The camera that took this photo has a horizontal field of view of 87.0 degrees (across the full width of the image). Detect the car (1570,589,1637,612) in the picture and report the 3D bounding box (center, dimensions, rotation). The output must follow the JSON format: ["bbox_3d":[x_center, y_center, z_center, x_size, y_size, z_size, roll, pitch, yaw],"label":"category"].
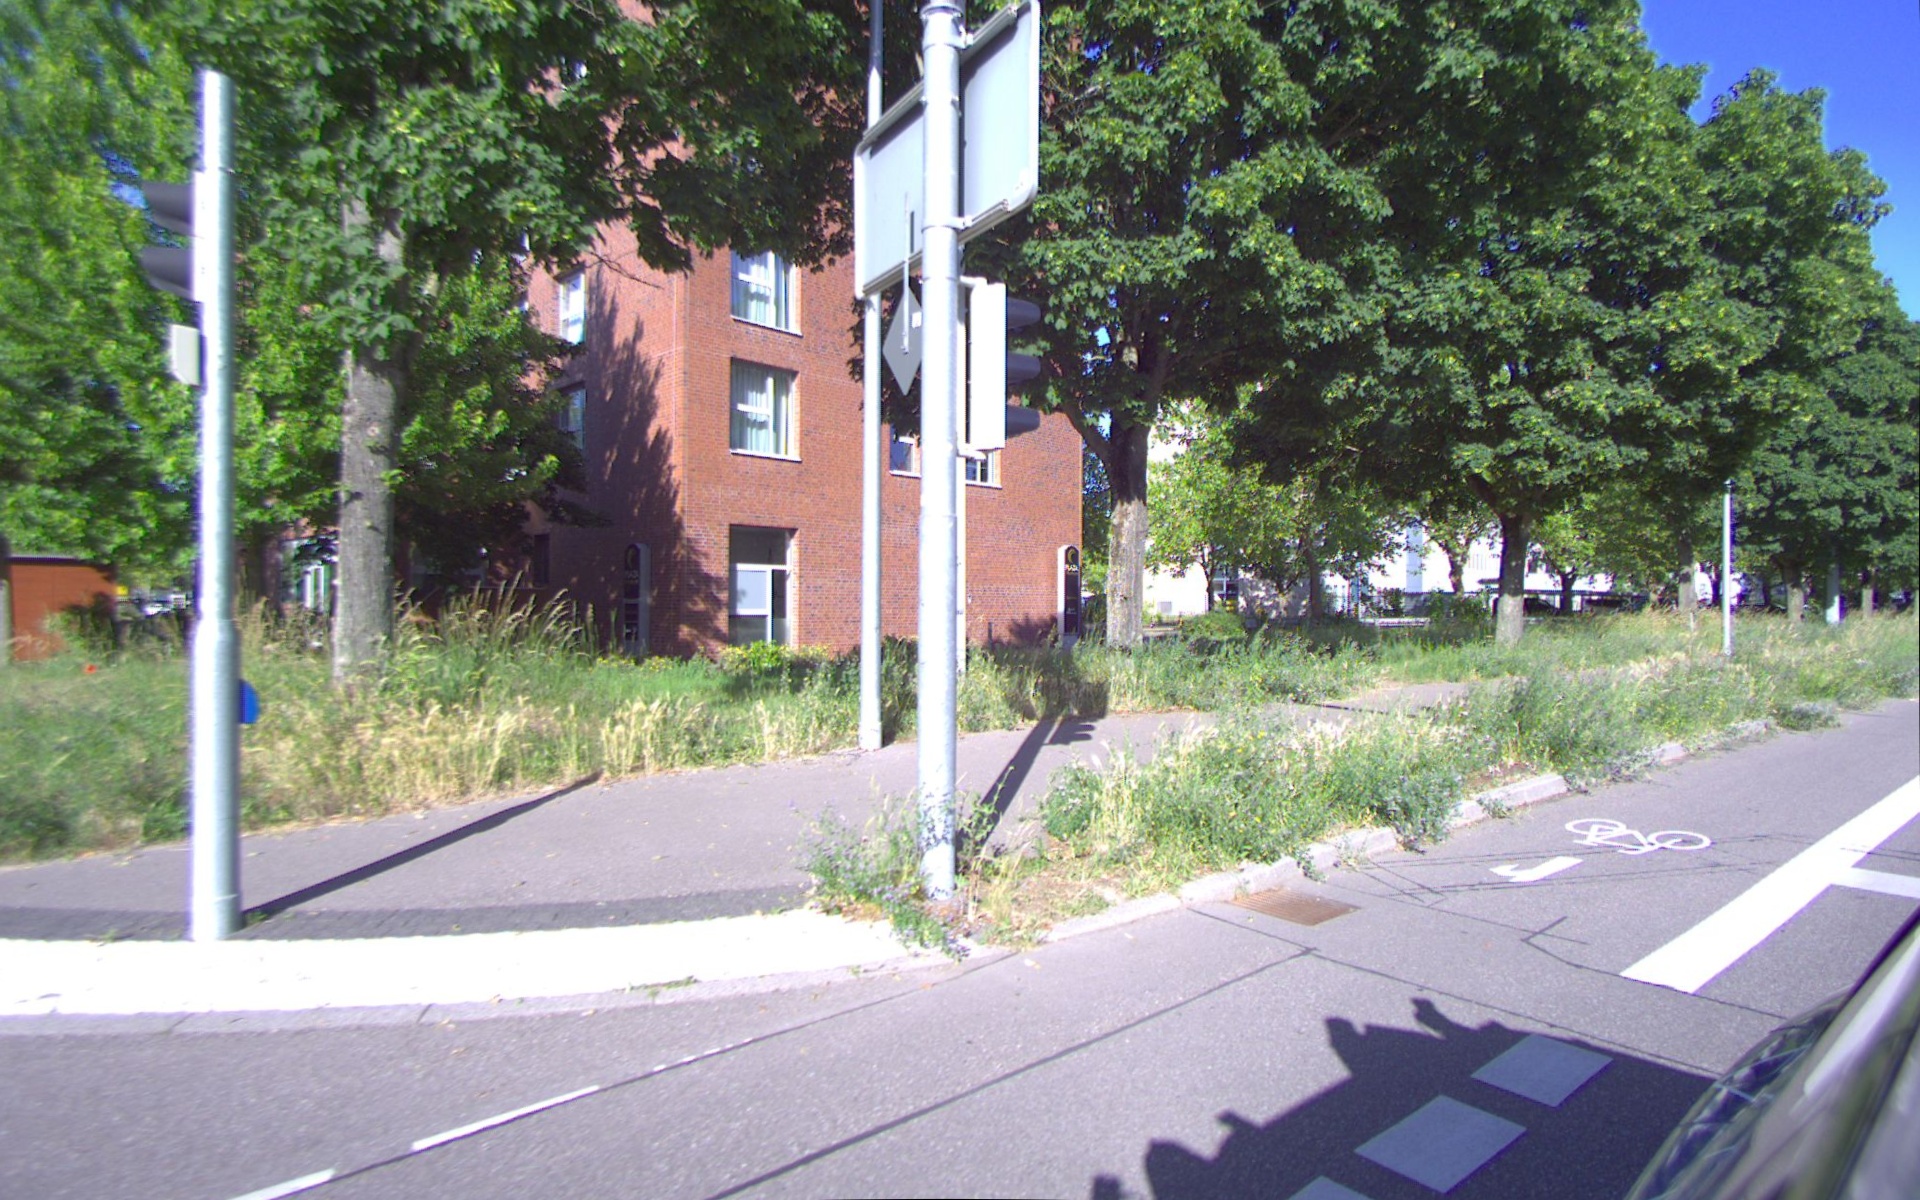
[{"bbox_3d":[58.055,0.006,91.370,1.937,1.974,4.763,1,0,-36],"label":"car"}]

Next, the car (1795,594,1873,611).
[{"bbox_3d":[73.393,0.239,85.070,1.774,1.287,4.710,1,0,-38],"label":"car"}]

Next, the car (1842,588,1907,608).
[{"bbox_3d":[83.768,-0.185,92.729,1.737,1.721,4.337,0,1,-45],"label":"car"}]

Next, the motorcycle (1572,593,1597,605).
[{"bbox_3d":[51.856,-0.058,84.057,0.528,0.982,1.654,0,0,-36],"label":"motorcycle"}]

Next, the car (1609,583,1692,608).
[{"bbox_3d":[43.977,-0.319,64.480,1.705,1.524,4.043,0,1,-35],"label":"car"}]

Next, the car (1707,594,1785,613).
[{"bbox_3d":[59.756,0.237,76.998,1.901,1.341,4.311,1,0,-31],"label":"car"}]

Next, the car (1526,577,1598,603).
[{"bbox_3d":[48.439,-0.791,81.484,1.920,2.039,4.601,0,1,-34],"label":"car"}]

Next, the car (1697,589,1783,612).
[{"bbox_3d":[52.094,0.024,67.658,1.789,1.450,4.181,0,0,-33],"label":"car"}]
